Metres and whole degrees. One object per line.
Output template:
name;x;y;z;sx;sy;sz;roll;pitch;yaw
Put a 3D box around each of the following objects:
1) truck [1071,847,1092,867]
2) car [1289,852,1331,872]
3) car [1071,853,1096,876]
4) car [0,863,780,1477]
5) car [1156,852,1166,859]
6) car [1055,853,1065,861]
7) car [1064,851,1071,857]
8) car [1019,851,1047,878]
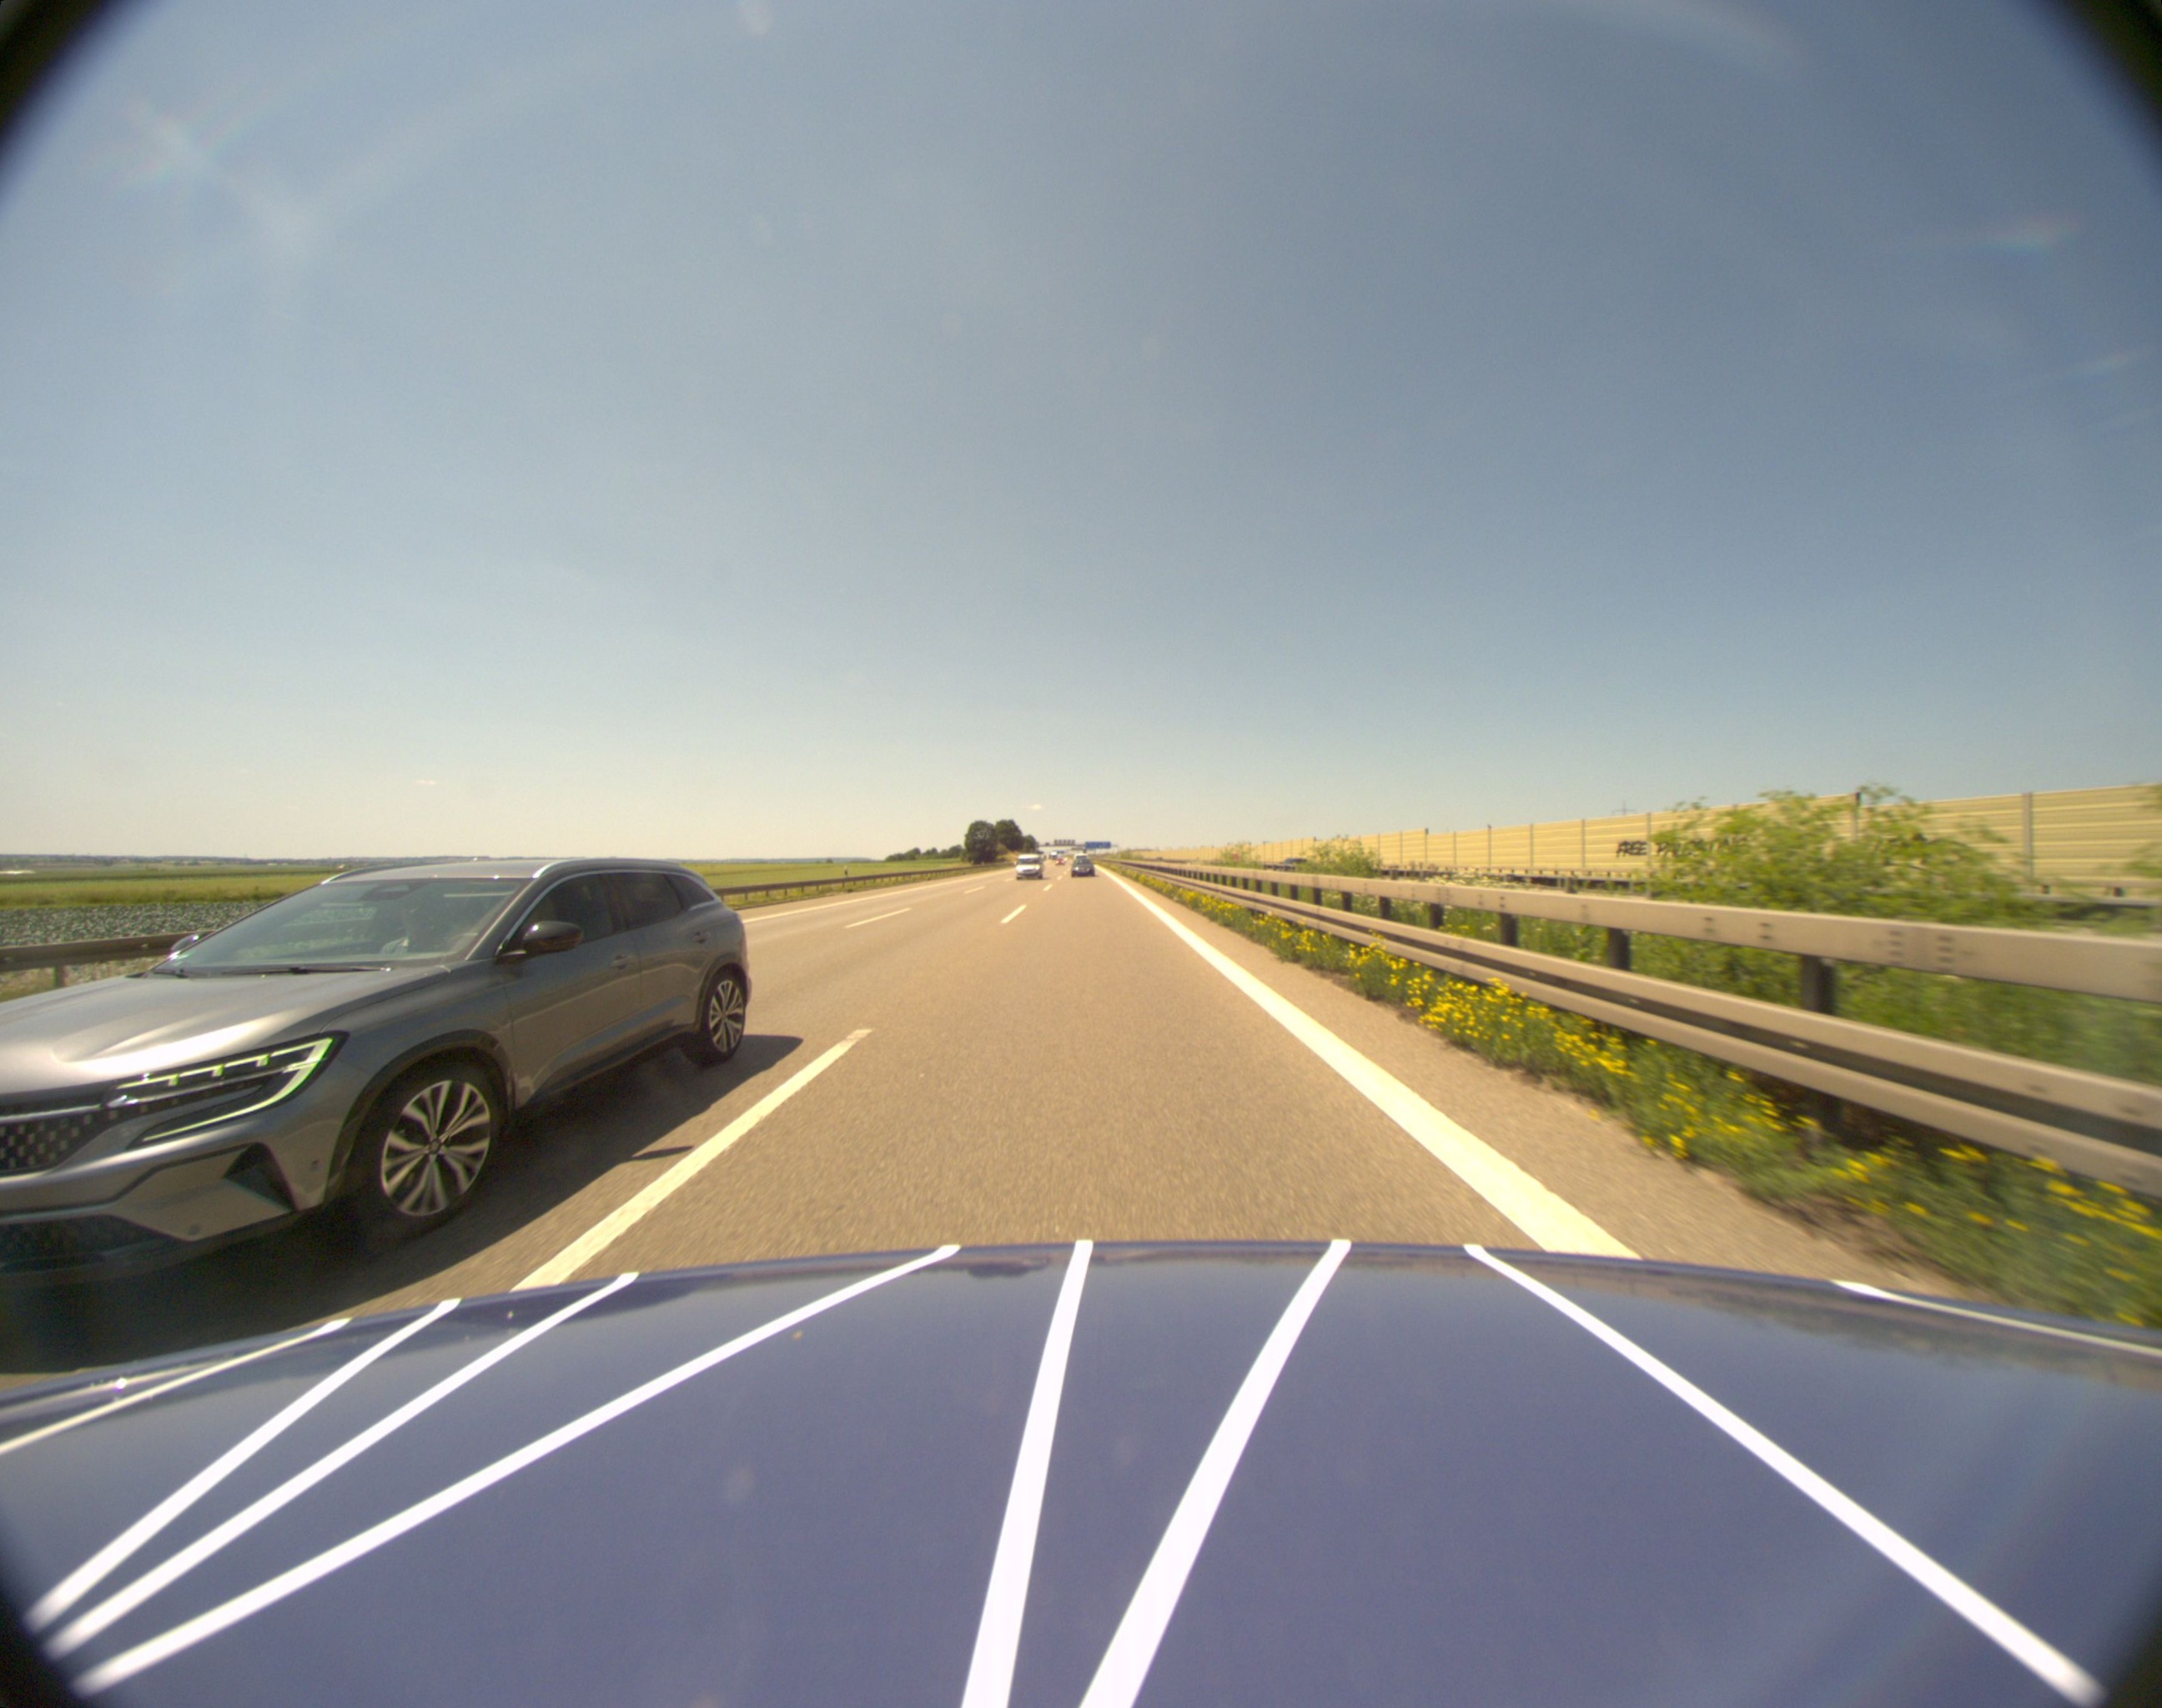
truck;0.031;0.361;98.282;2.334;2.378;6.685;-3;1;-2
car;17.647;0.616;58.620;1.998;1.412;4.000;-2;0;0
car;0.169;0.762;58.885;1.715;1.586;4.546;-4;0;-2
car;-3.649;0.950;4.478;1.856;1.639;4.644;-1;1;0
car;18.351;0.358;175.090;1.723;1.401;4.484;-3;1;0
car;-3.982;0.530;143.992;1.723;1.514;3.582;-3;1;1
car;-3.681;-0.013;207.953;1.724;1.514;3.581;-3;1;-2
car;-3.503;0.760;56.383;1.812;1.836;5.311;-2;0;-2
